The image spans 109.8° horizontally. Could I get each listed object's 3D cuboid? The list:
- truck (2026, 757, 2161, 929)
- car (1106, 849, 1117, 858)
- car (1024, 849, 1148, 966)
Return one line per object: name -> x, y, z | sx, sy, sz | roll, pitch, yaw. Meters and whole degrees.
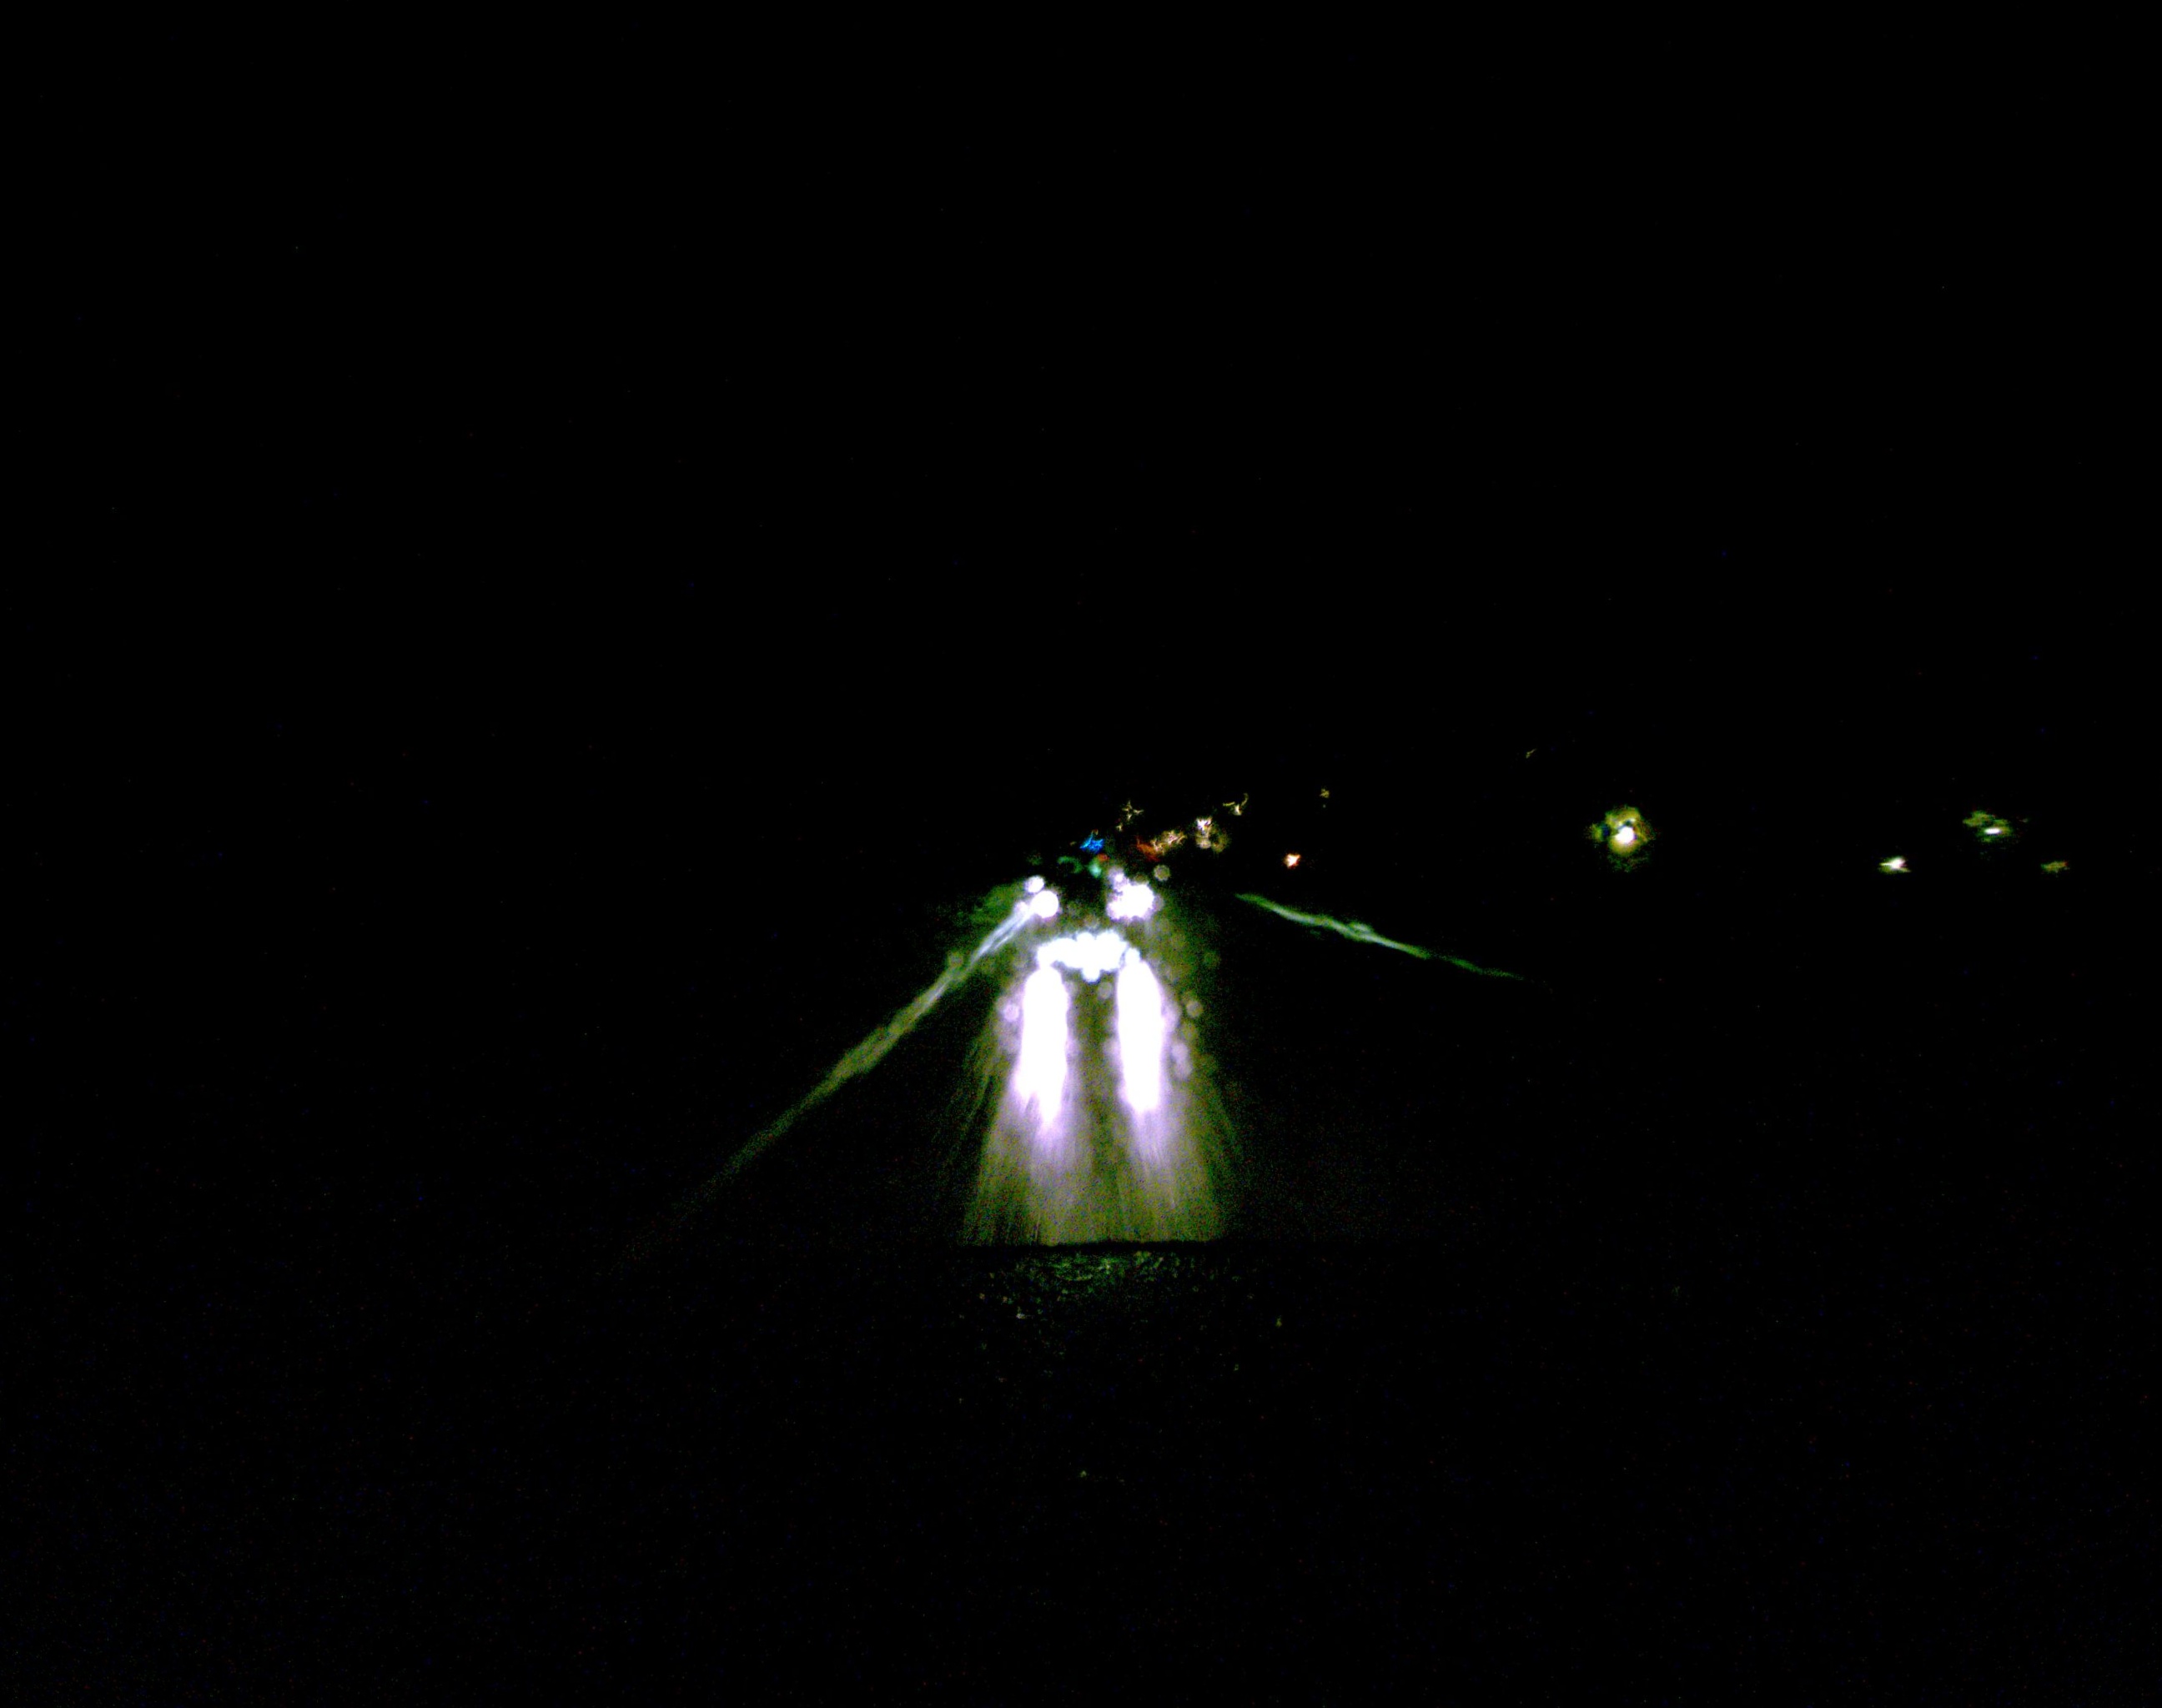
truck -> 30.616, -0.323, 18.114 | 3.448, 4.583, 10.211 | -2, 1, 0
car -> 6.517, -0.098, 161.239 | 1.796, 2.010, 4.578 | 2, 0, -4
car -> 0.087, 0.816, 13.520 | 1.791, 1.684, 4.219 | -2, 0, 0
